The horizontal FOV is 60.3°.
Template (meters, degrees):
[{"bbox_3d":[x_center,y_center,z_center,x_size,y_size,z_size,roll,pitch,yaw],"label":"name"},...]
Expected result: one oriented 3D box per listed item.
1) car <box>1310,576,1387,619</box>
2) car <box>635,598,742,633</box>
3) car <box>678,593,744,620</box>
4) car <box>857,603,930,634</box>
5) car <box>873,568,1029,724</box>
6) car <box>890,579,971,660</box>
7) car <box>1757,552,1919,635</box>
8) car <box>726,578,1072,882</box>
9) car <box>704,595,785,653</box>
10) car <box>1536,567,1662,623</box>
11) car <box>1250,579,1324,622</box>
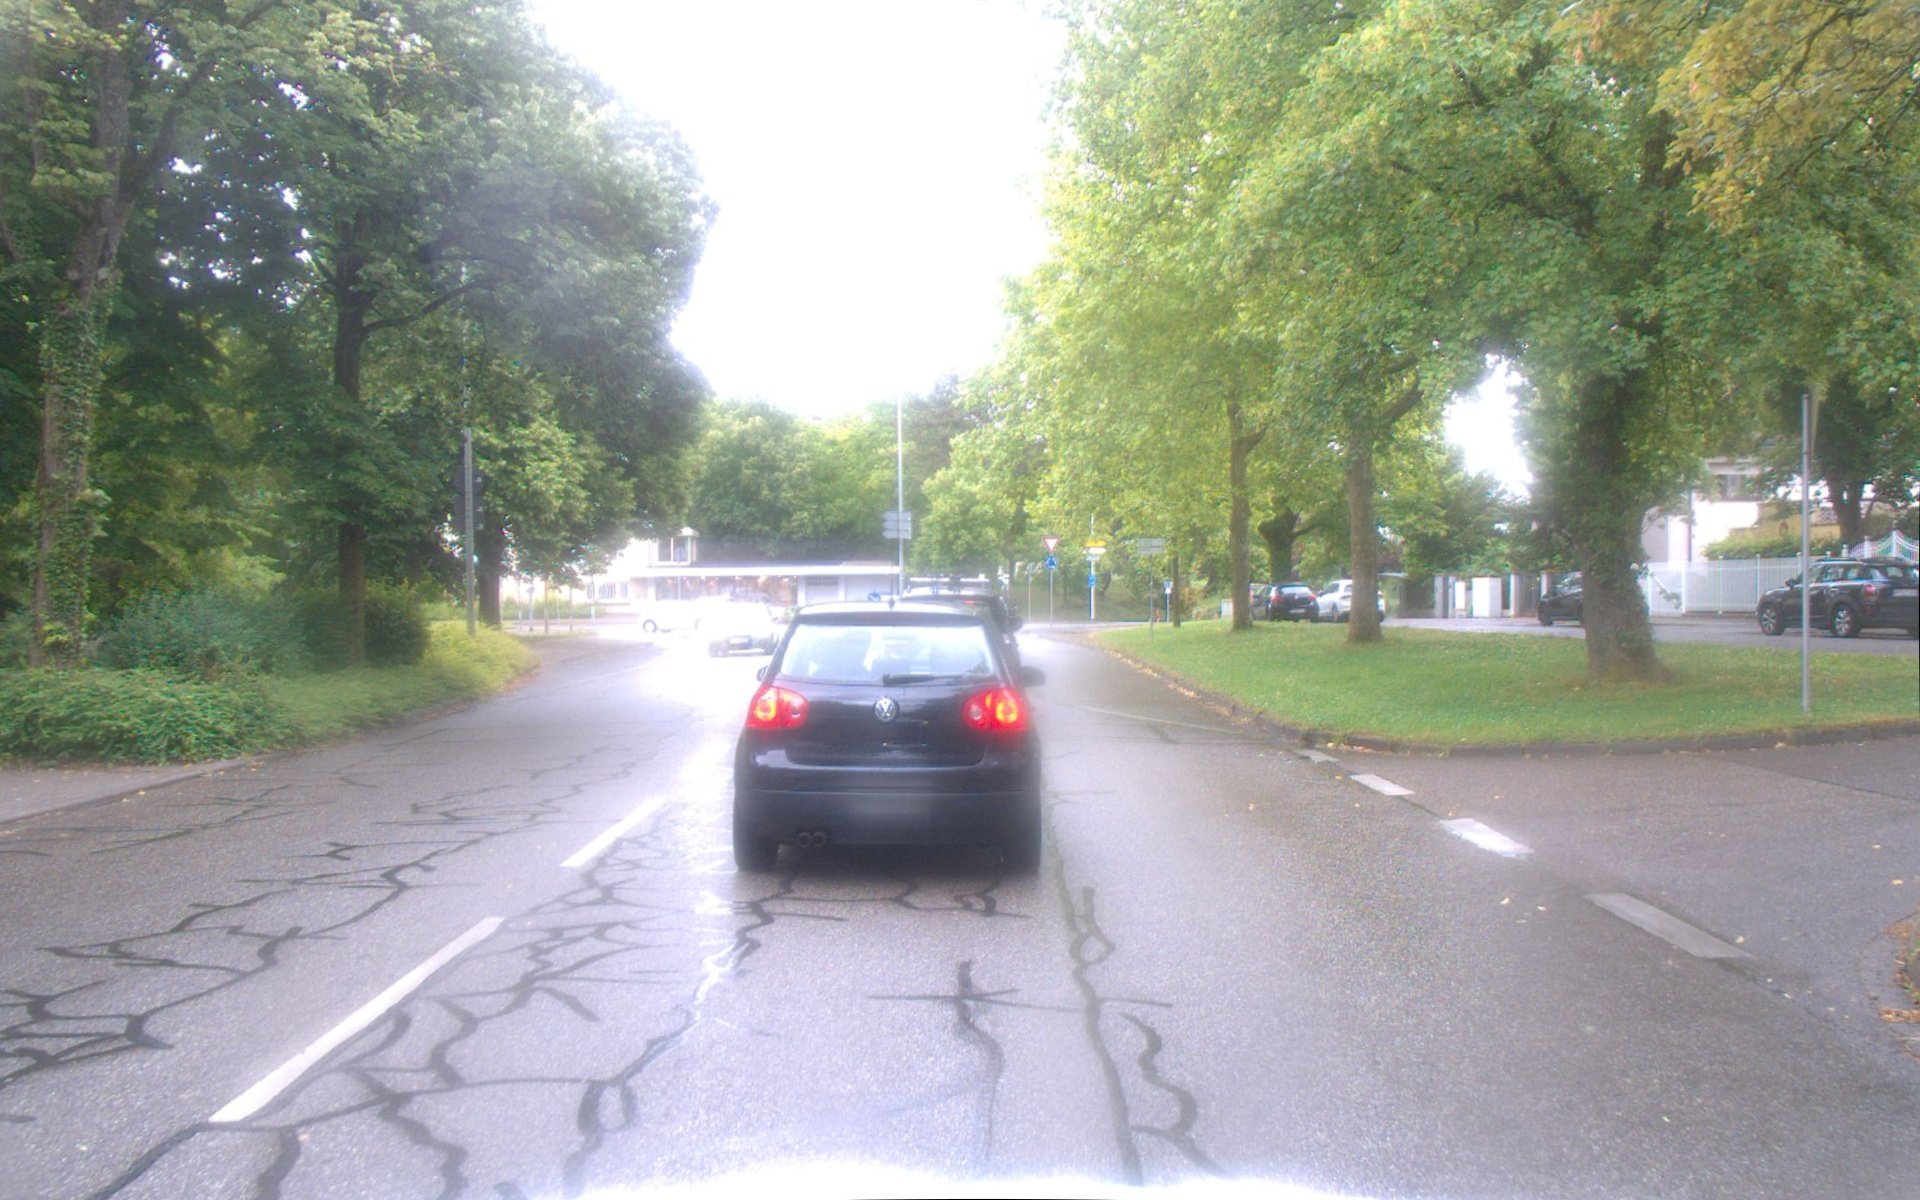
[{"bbox_3d":[13.852,-0.105,59.122,1.766,1.430,4.000,-2,0,0],"label":"car"},{"bbox_3d":[-12.374,0.714,75.423,4.399,1.444,1.849,-2,0,12],"label":"car"},{"bbox_3d":[-15.206,0.404,100.905,3.583,1.539,1.713,-1,0,11],"label":"car"},{"bbox_3d":[-3.045,0.829,75.828,3.067,1.333,1.534,-1,0,-14],"label":"car"},{"bbox_3d":[-0.101,0.559,21.457,1.817,1.816,4.000,-1,-1,0],"label":"car"},{"bbox_3d":[-0.661,0.459,39.636,1.817,1.816,4.000,-1,-1,0],"label":"car"},{"bbox_3d":[18.314,-0.160,33.952,1.766,1.556,4.110,-2,1,-3],"label":"car"},{"bbox_3d":[-0.300,0.662,10.322,1.762,1.542,3.753,0,0,0],"label":"car"},{"bbox_3d":[-5.844,0.623,45.252,1.761,1.417,3.977,-3,0,-2],"label":"car"},{"bbox_3d":[17.745,-0.151,46.146,1.766,1.436,4.110,-2,1,-3],"label":"car"},{"bbox_3d":[11.589,0.000,58.838,1.766,1.409,4.000,-2,0,0],"label":"car"}]
